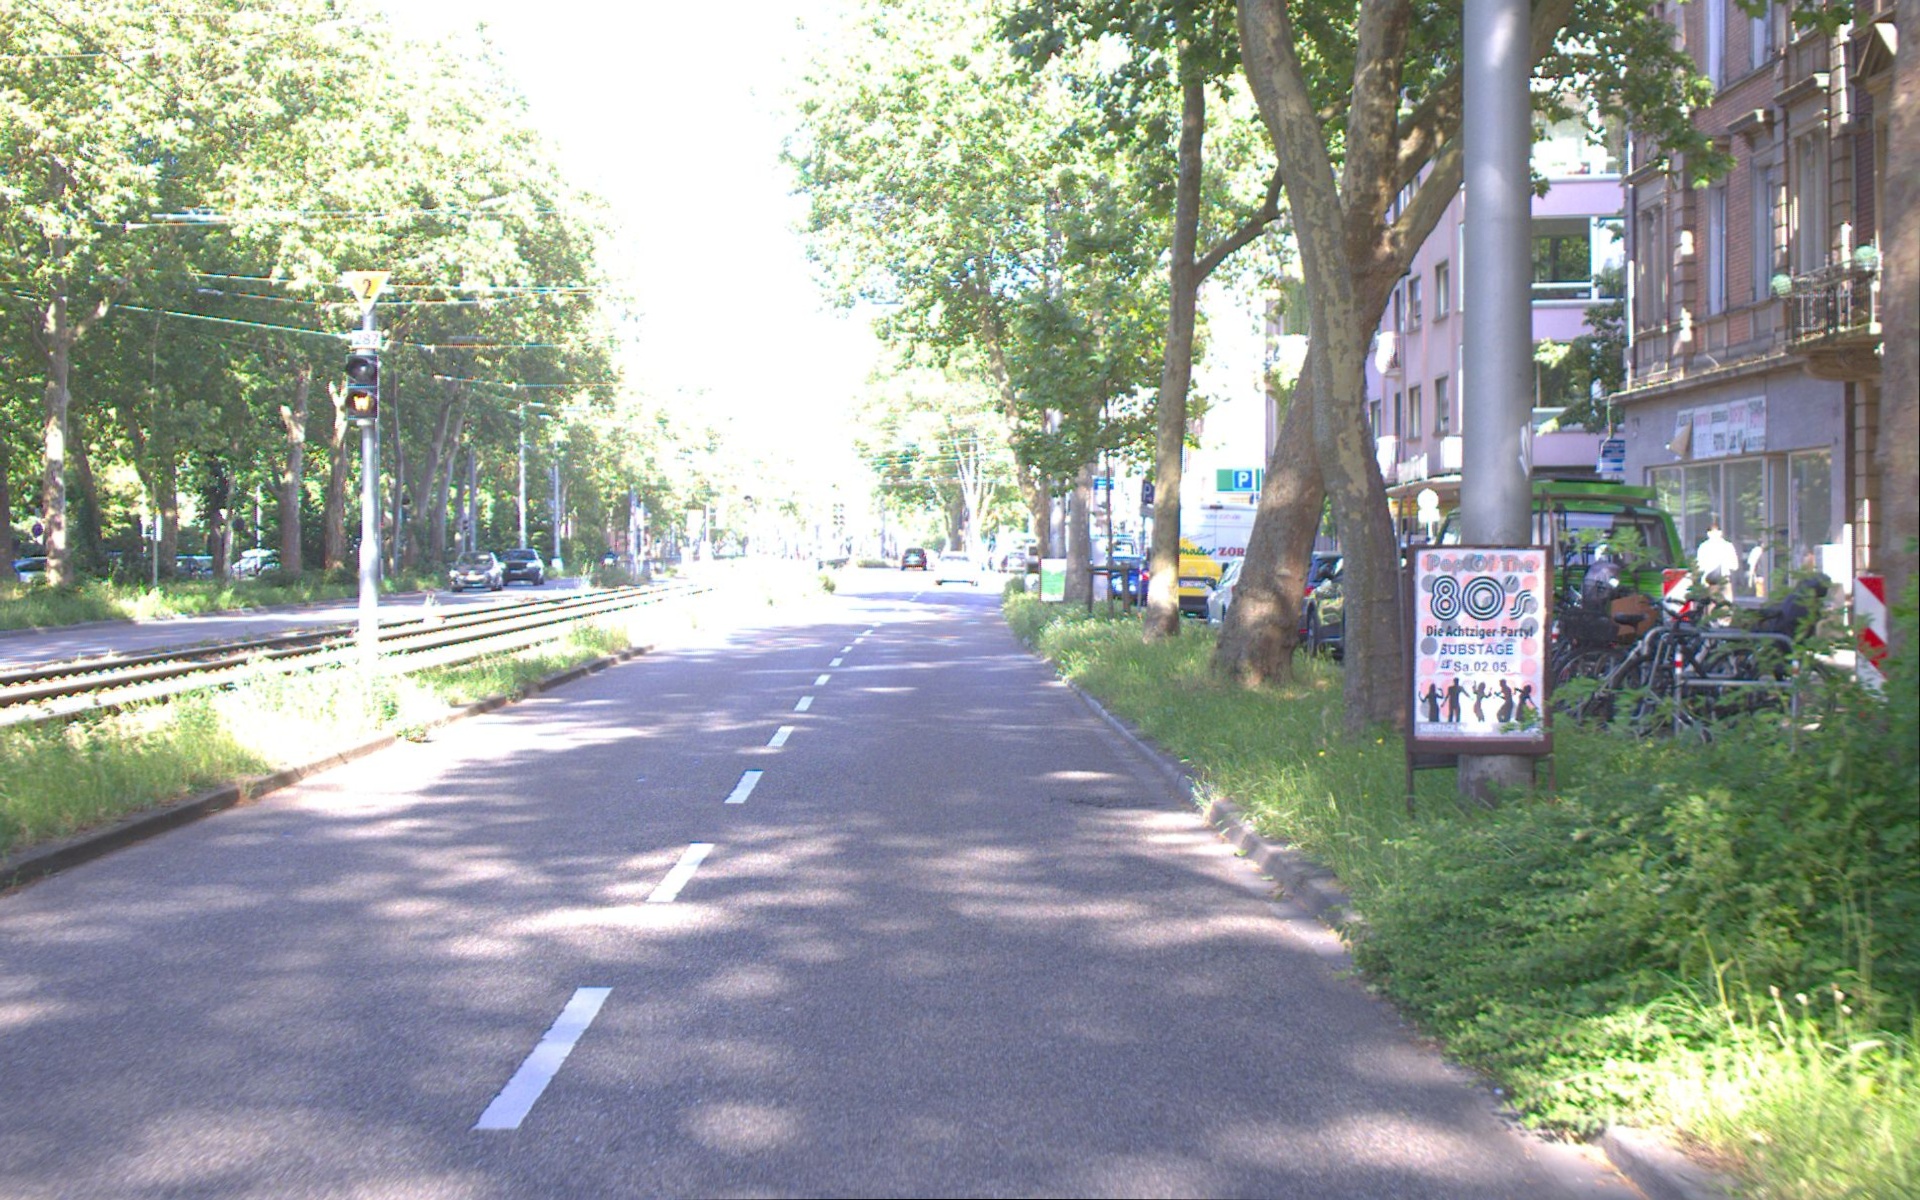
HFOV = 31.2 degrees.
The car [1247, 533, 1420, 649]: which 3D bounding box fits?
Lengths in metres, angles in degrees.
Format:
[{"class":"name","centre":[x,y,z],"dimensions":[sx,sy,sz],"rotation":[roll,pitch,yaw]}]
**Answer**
[{"class":"car","centre":[5.139,-0.151,47.777],"dimensions":[1.737,1.459,4.366],"rotation":[3,1,-2]}]

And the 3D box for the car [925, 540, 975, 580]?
[{"class":"car","centre":[-0.444,-1.678,143.640],"dimensions":[2.021,1.656,4.000],"rotation":[0,1,-1]}]

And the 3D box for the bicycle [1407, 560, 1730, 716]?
[{"class":"bicycle","centre":[5.252,0.324,29.763],"dimensions":[2.548,1.290,0.975],"rotation":[1,1,-7]}]

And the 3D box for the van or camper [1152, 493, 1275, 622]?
[{"class":"van or camper","centre":[5.154,-0.875,70.751],"dimensions":[2.184,2.472,6.268],"rotation":[2,1,2]}]

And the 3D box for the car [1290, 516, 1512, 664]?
[{"class":"car","centre":[5.382,-0.154,42.589],"dimensions":[1.890,1.641,4.801],"rotation":[3,1,-2]}]

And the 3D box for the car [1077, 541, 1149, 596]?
[{"class":"car","centre":[4.351,-0.917,98.406],"dimensions":[1.683,1.508,3.668],"rotation":[1,1,-3]}]

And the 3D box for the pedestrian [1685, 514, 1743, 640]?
[{"class":"pedestrian","centre":[10.964,-0.339,49.994],"dimensions":[0.702,1.816,0.612],"rotation":[0,1,-1]}]

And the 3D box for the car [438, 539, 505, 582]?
[{"class":"car","centre":[-18.425,-1.492,129.792],"dimensions":[1.795,1.503,4.339],"rotation":[-3,1,0]}]

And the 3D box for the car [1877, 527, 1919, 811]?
[{"class":"car","centre":[5.696,0.401,15.626],"dimensions":[1.833,1.402,4.192],"rotation":[3,1,-1]}]

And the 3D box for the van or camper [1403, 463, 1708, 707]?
[{"class":"van or camper","centre":[5.623,-0.172,33.068],"dimensions":[1.833,2.090,4.775],"rotation":[3,1,-2]}]

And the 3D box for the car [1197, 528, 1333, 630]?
[{"class":"car","centre":[5.056,-0.365,57.464],"dimensions":[1.753,1.567,4.185],"rotation":[3,1,-1]}]

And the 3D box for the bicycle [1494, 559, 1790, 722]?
[{"class":"bicycle","centre":[5.620,0.325,28.389],"dimensions":[2.163,1.290,0.983],"rotation":[1,1,-11]}]

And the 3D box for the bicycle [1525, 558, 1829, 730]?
[{"class":"bicycle","centre":[5.633,0.332,27.102],"dimensions":[2.164,1.290,0.983],"rotation":[1,1,0]}]

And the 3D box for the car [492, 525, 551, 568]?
[{"class":"car","centre":[-19.882,-2.429,156.071],"dimensions":[1.993,1.864,4.873],"rotation":[-2,1,0]}]

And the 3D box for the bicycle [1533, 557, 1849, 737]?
[{"class":"bicycle","centre":[5.492,0.342,25.951],"dimensions":[2.164,1.290,0.983],"rotation":[1,1,2]}]

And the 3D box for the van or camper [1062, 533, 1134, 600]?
[{"class":"van or camper","centre":[4.137,-1.025,103.733],"dimensions":[1.839,1.956,5.127],"rotation":[1,1,-1]}]
